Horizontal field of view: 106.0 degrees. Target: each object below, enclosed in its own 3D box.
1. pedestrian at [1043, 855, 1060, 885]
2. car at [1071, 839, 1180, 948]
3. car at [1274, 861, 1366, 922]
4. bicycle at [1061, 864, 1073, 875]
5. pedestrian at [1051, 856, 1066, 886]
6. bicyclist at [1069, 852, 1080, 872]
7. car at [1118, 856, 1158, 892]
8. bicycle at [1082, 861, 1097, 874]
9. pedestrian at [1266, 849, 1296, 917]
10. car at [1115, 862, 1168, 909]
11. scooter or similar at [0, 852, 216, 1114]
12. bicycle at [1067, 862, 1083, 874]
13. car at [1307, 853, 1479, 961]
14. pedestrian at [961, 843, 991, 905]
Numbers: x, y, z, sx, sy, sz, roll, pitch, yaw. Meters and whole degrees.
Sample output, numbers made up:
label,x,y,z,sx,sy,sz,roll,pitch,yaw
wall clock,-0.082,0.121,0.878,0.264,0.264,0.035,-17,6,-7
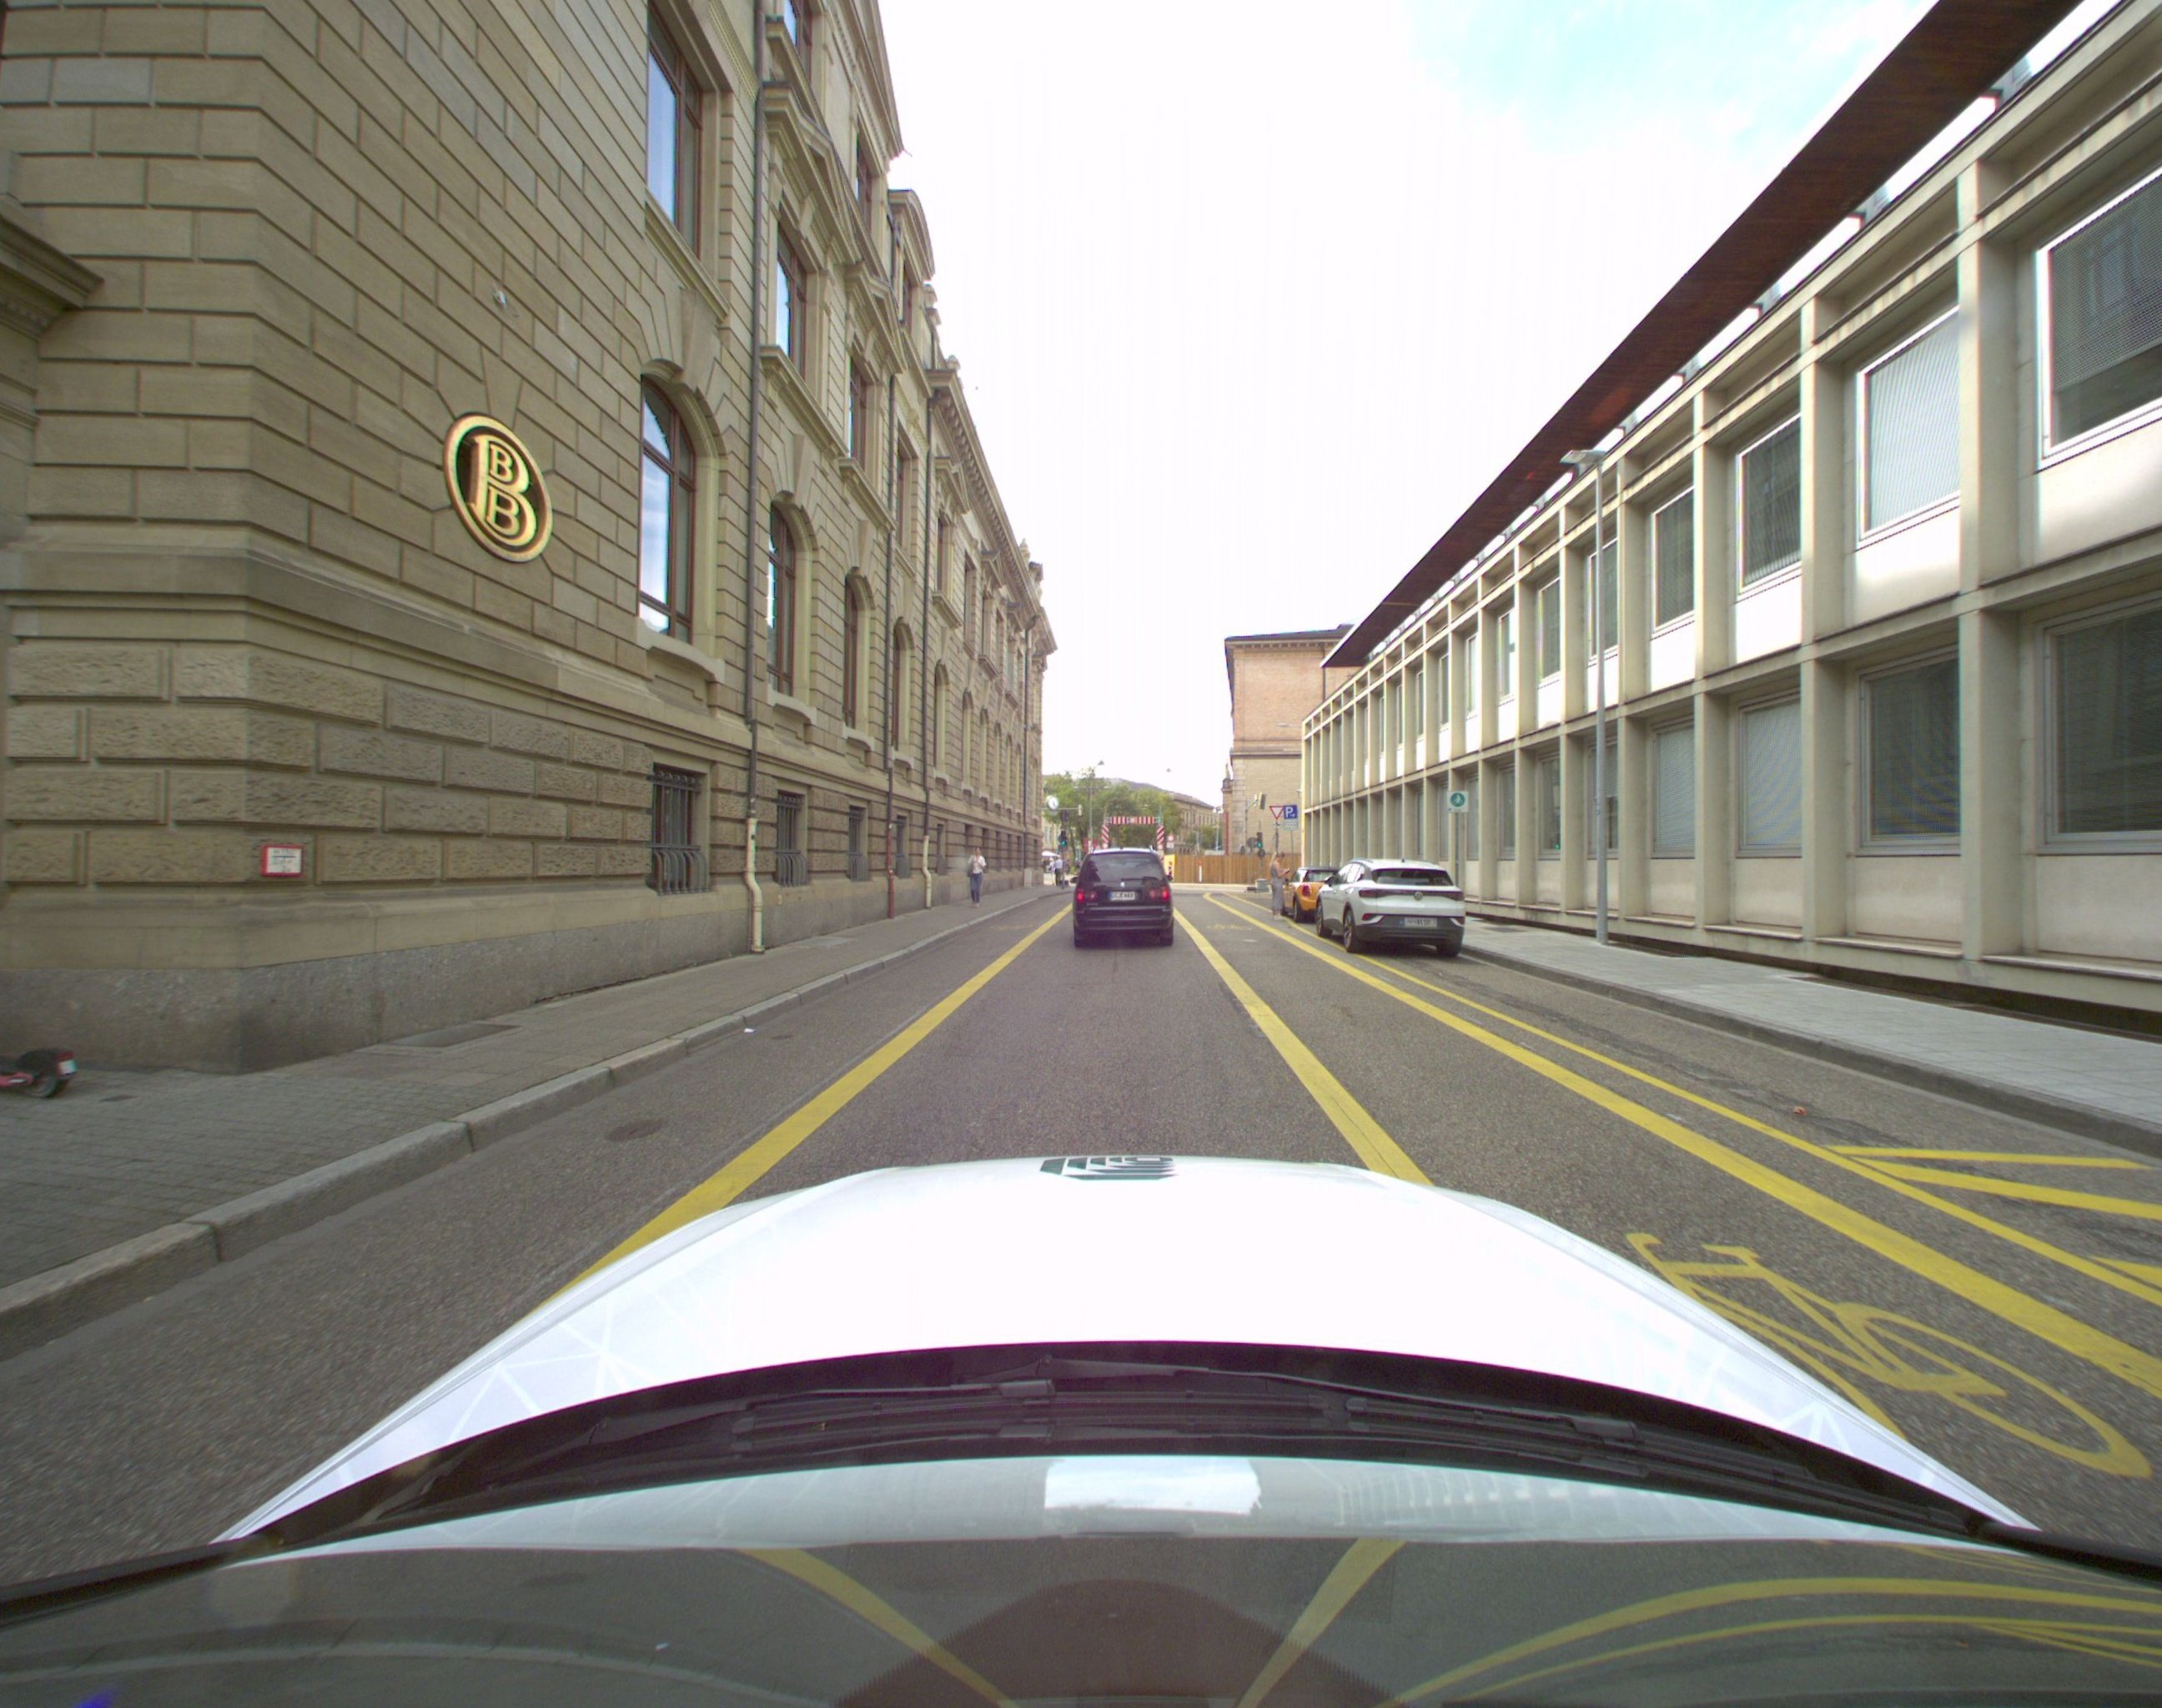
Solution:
label,x,y,z,sx,sy,sz,roll,pitch,yaw
pedestrian,-1.868,1.018,51.981,0.793,1.820,1.042,2,-1,-15
car,0.939,0.686,15.509,1.781,1.790,4.109,-1,-1,6
car,6.276,0.940,21.745,1.671,1.435,3.893,1,-1,6
bicycle,-1.265,1.383,73.596,0.735,1.009,2.061,0,-1,-11
pedestrian,-1.372,1.027,49.382,0.789,1.820,1.049,2,-1,3
bicyclist,-0.510,0.627,65.615,0.736,1.612,0.691,0,-1,-16
car,2.631,0.921,38.032,1.766,1.586,4.003,0,-1,3
bicycle,0.702,1.113,66.321,0.736,1.009,2.059,0,-1,-14
pedestrian,5.233,0.759,21.360,0.694,1.764,0.707,0,-1,7
car,2.098,1.015,27.716,1.670,1.469,4.108,0,-1,5
scooter or similar,-5.942,0.677,4.600,1.441,1.310,0.587,3,0,2
bicycle,-0.495,1.132,65.584,0.736,1.009,2.057,0,-1,-16
car,5.569,0.870,15.178,1.851,1.605,4.519,3,-1,6
pedestrian,-3.175,0.603,24.715,0.661,1.820,1.049,2,-1,3
